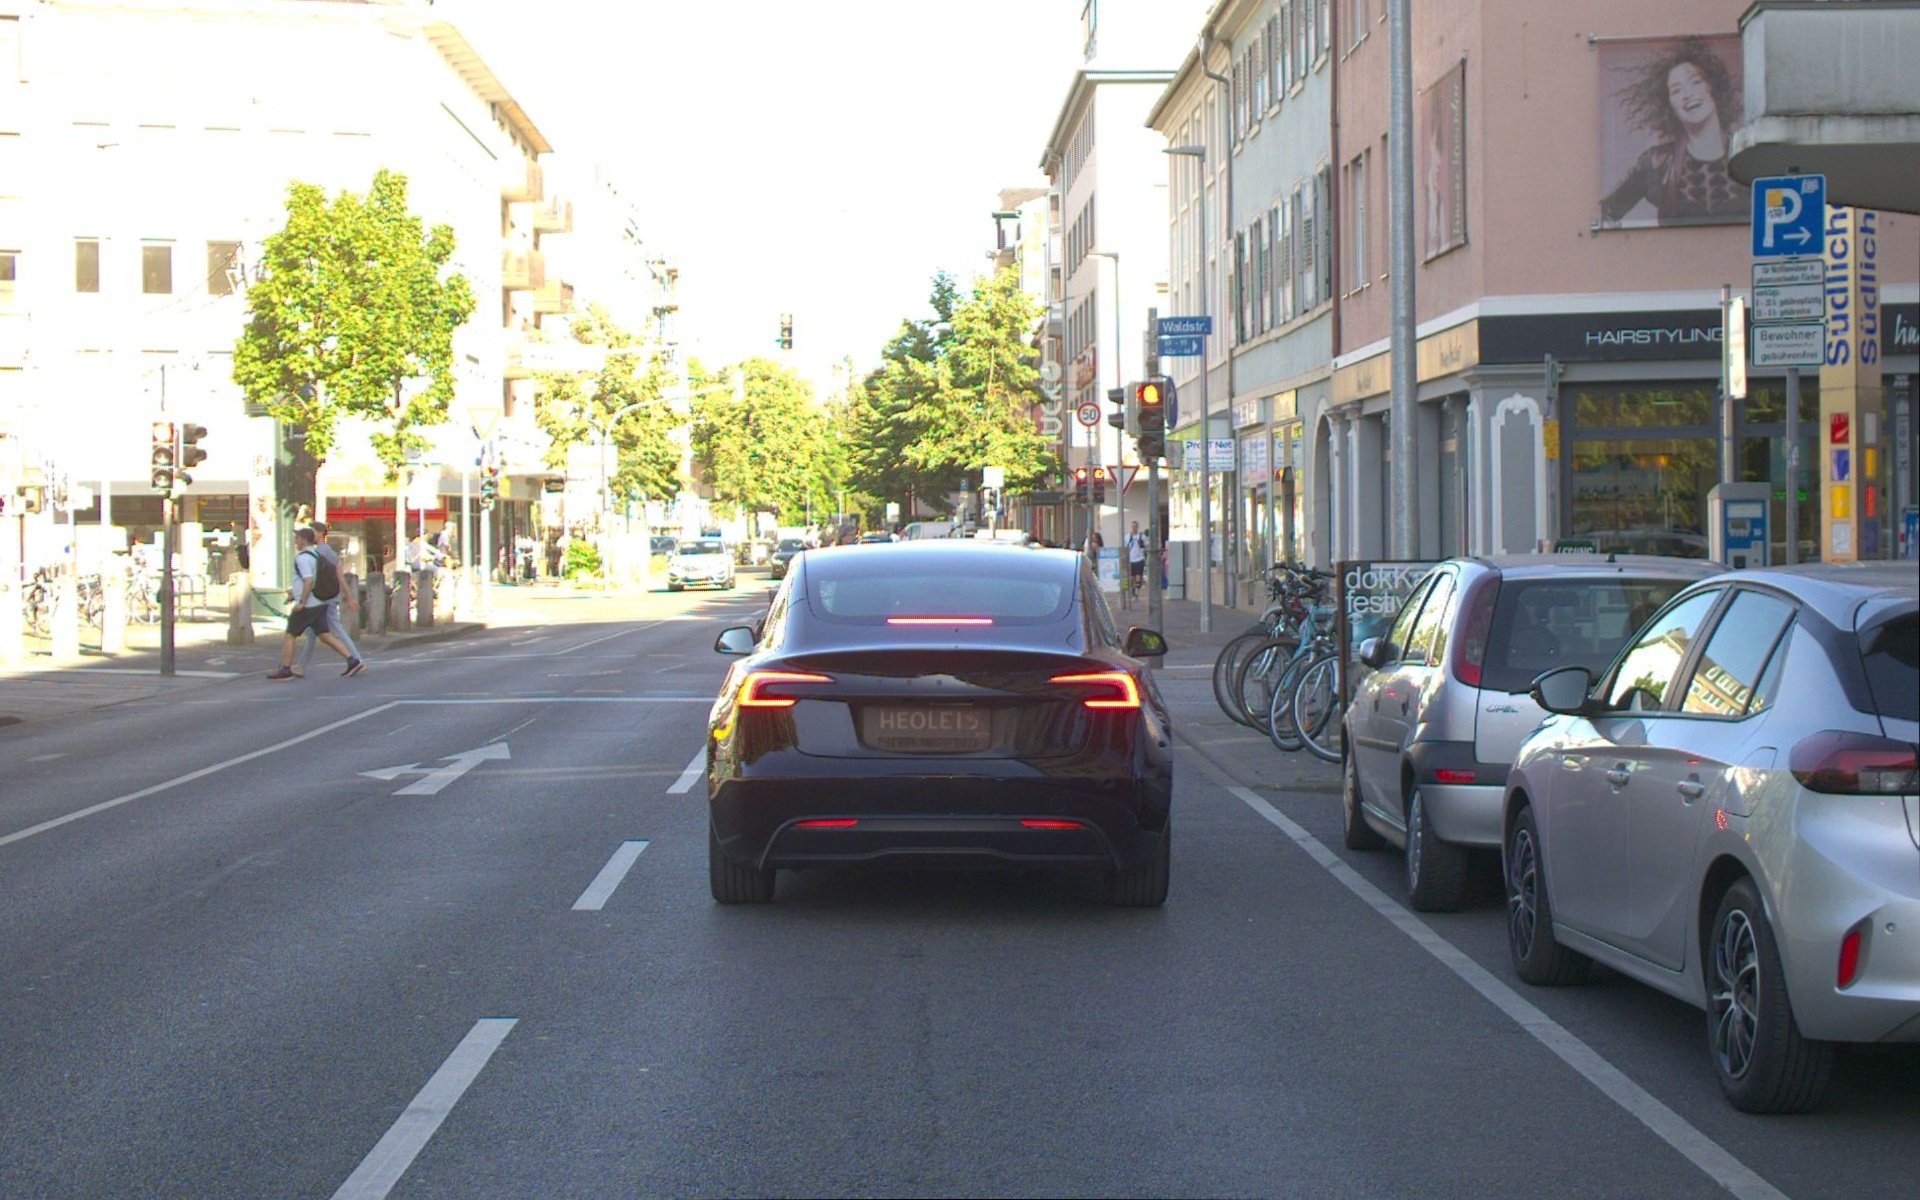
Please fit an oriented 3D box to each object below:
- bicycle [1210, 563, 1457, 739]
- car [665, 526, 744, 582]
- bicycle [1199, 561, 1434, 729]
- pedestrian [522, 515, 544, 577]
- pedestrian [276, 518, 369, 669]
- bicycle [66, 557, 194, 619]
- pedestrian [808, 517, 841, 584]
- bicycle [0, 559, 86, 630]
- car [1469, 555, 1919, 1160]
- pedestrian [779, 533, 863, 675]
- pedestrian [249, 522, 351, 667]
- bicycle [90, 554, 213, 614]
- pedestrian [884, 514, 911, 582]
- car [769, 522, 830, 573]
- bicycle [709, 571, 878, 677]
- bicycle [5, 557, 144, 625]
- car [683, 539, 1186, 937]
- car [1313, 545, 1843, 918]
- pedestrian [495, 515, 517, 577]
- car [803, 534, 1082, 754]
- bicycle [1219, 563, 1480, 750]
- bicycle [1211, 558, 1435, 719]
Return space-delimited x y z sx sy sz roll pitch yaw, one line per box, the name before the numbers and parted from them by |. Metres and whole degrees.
bicycle | 2.580 0.347 23.837 1.627 1.156 0.433 -2 1 -1
car | -7.602 -1.383 102.432 1.993 1.535 4.000 -3 1 0
bicycle | 2.588 0.320 25.033 1.627 1.156 0.433 -2 1 -1
pedestrian | -13.866 -1.758 111.601 0.626 2.007 0.575 0 1 0
pedestrian | -7.346 -0.086 39.661 0.901 1.719 0.744 0 1 3
bicycle | -14.820 -0.217 61.409 2.082 1.100 0.806 0 1 0
pedestrian | -4.113 -1.503 104.336 0.750 2.007 0.798 0 1 -26
bicycle | -14.903 -0.087 54.115 2.082 1.100 0.806 0 1 0
car | 2.705 0.595 10.303 1.670 1.422 4.078 0 1 -1
pedestrian | -1.420 0.038 35.203 0.743 1.435 0.582 1 1 10
pedestrian | -7.483 -0.070 39.024 0.986 1.631 0.737 0 1 3
bicycle | -14.949 -0.298 63.602 2.082 1.100 0.806 0 1 0
pedestrian | -1.862 -1.557 102.416 0.627 2.007 0.558 1 1 24
car | -5.575 -1.819 118.922 2.050 1.721 4.654 0 1 -3
bicycle | -1.681 0.236 34.799 1.616 1.041 0.591 1 1 9
bicycle | -14.584 -0.145 56.633 2.082 1.100 0.806 0 1 0
car | -0.082 0.477 14.575 1.850 1.450 3.786 0 1 0
car | 2.533 0.467 14.936 1.622 1.389 3.886 0 1 0
pedestrian | -14.743 -1.767 111.533 0.626 2.007 0.707 0 1 0
car | -0.100 0.257 24.735 1.850 1.450 3.786 0 1 0
bicycle | 2.555 0.366 22.628 1.627 1.156 0.433 -2 1 -1
bicycle | 2.751 0.287 26.115 1.628 1.156 0.433 -2 1 1
